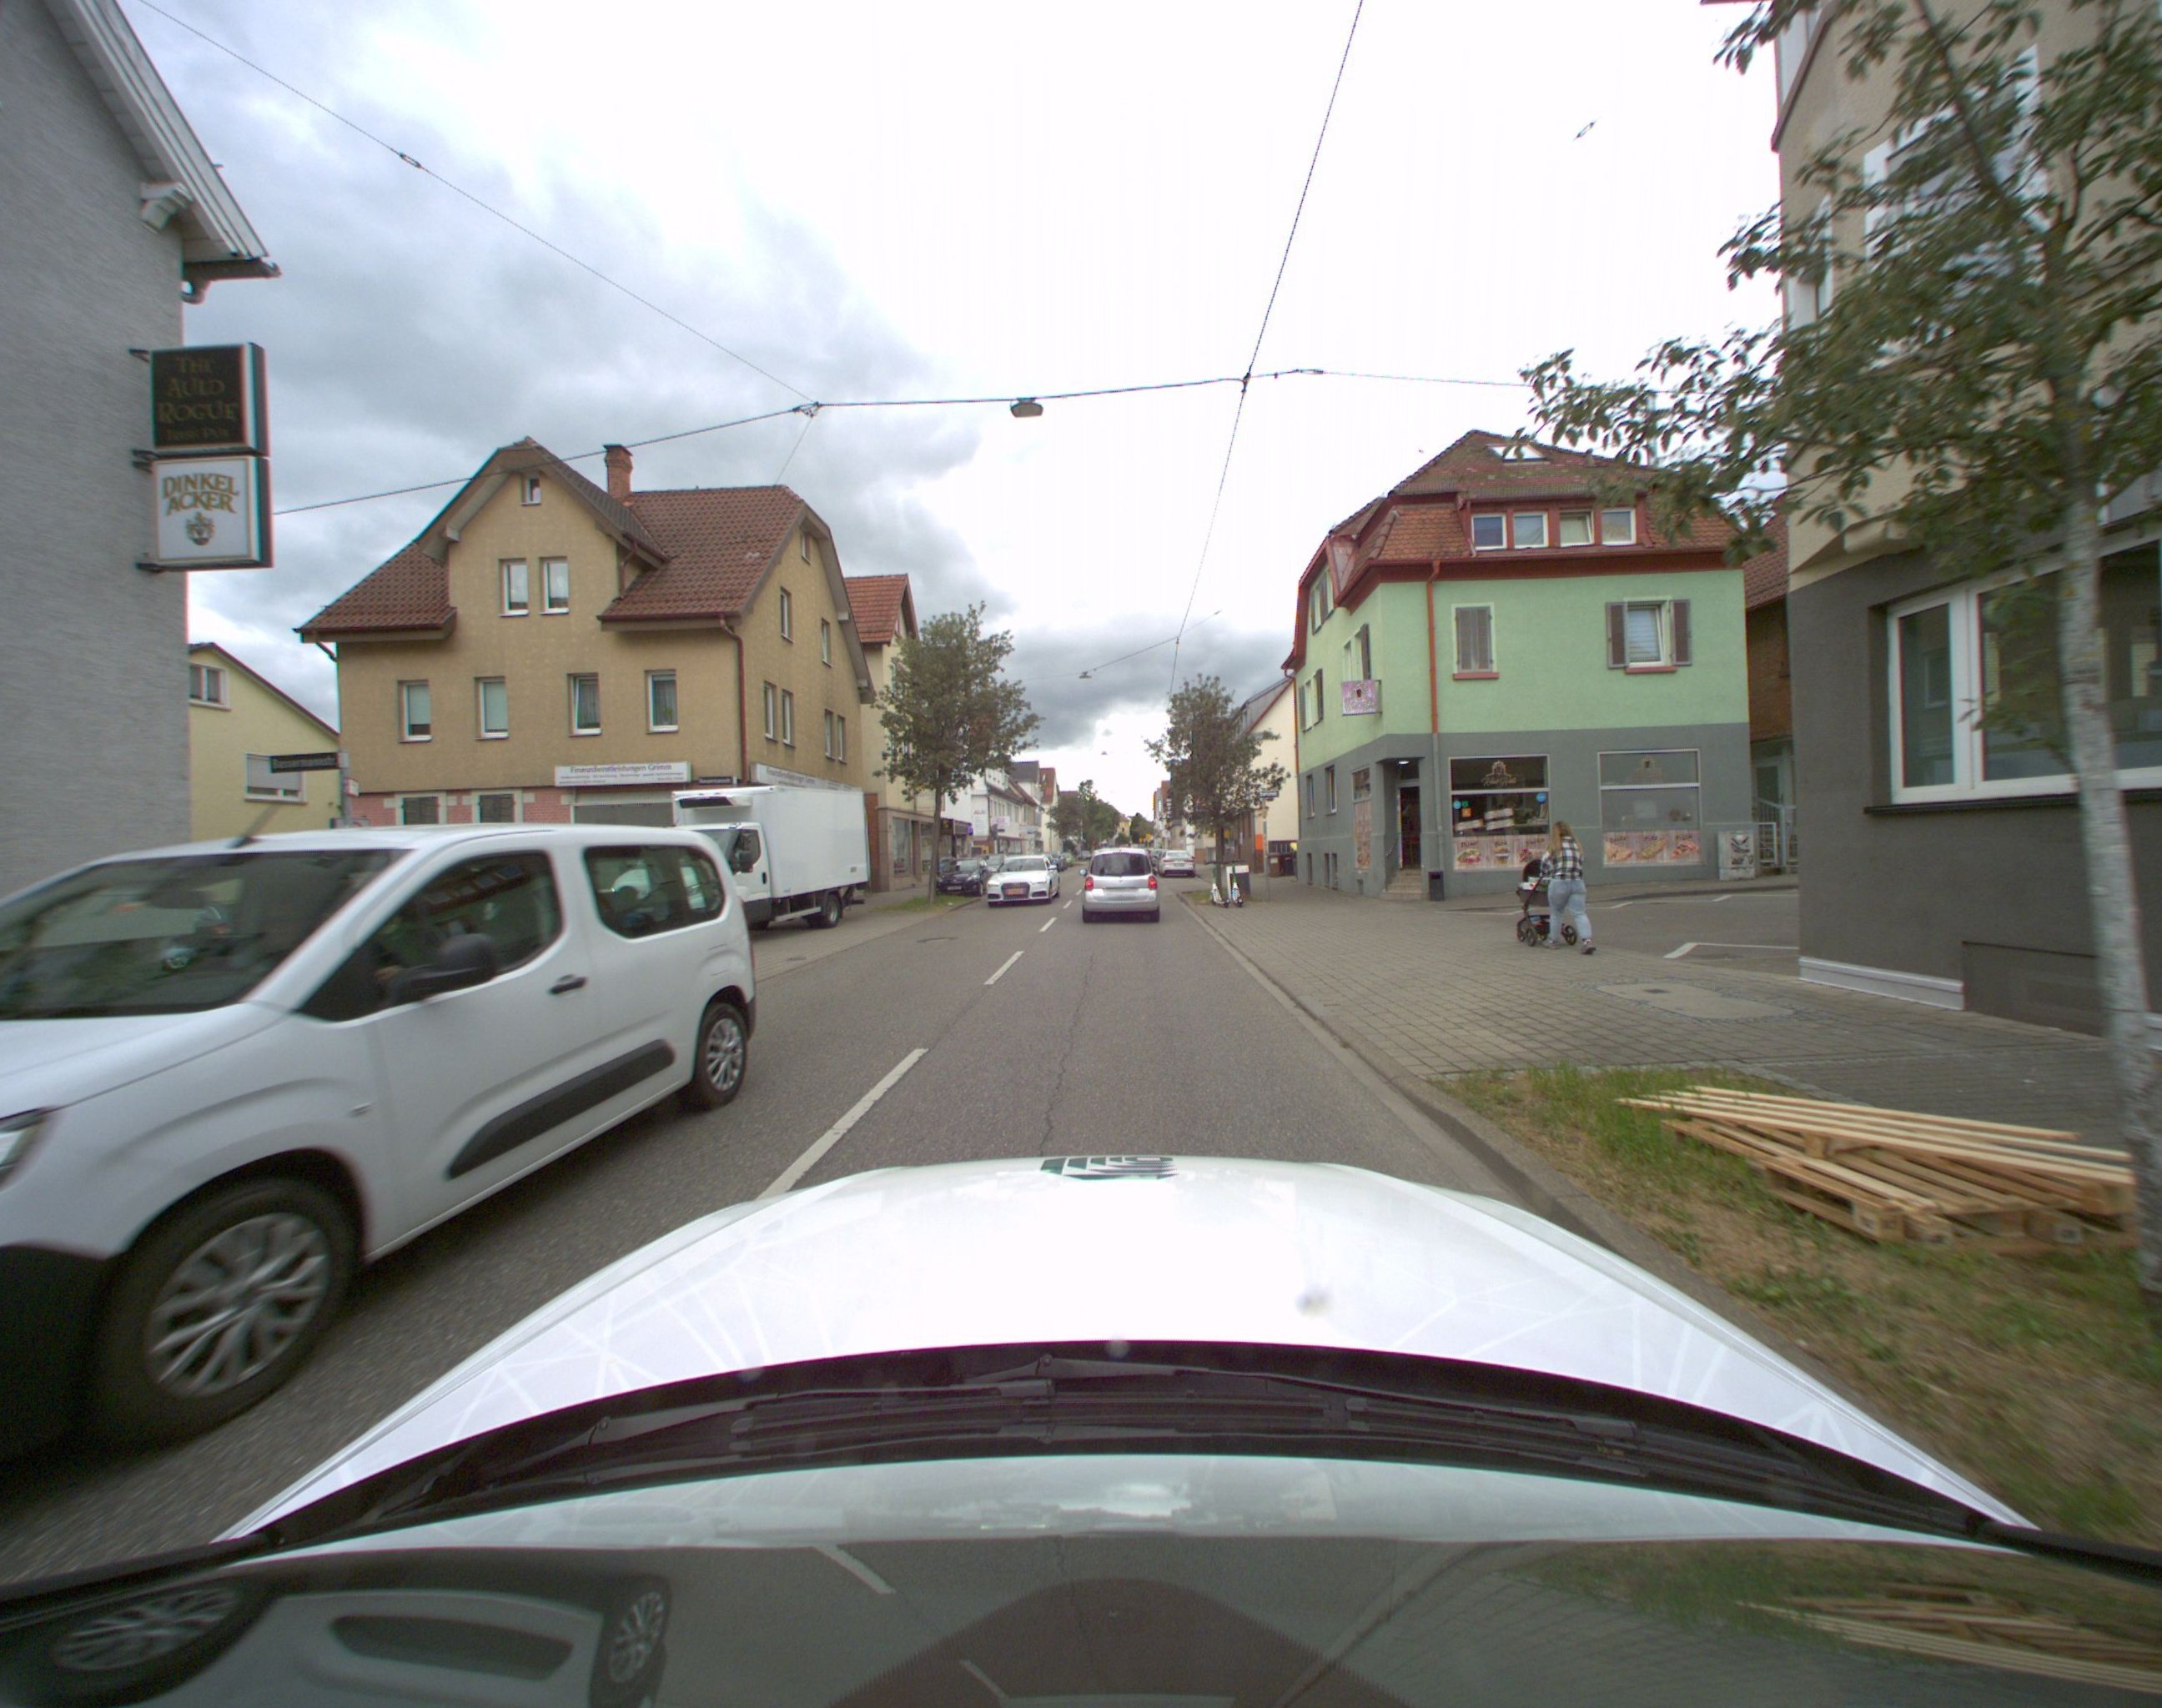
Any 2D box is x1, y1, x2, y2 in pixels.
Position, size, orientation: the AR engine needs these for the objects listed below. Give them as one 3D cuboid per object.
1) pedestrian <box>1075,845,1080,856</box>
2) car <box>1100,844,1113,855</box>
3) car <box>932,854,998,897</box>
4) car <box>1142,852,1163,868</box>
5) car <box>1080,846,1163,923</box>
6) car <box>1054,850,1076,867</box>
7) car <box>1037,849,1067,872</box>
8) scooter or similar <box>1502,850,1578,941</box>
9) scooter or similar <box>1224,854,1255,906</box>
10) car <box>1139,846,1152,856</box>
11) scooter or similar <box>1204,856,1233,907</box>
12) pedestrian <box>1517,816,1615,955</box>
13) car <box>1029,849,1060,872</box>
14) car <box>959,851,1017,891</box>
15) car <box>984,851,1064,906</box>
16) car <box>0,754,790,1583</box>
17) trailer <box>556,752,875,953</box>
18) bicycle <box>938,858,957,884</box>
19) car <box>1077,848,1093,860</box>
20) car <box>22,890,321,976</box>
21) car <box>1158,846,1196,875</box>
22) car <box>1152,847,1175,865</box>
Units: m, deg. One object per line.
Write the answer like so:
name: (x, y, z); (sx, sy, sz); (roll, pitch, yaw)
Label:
pedestrian: (-0.558, -0.528, 123.859); (0.759, 1.791, 0.890); (-1, 0, 3)
car: (4.238, -0.727, 136.381); (1.892, 1.737, 4.371); (-3, 0, 4)
car: (-4.323, 0.769, 30.935); (1.676, 1.424, 3.934); (-3, 0, 2)
car: (6.409, 0.521, 73.516); (1.747, 1.445, 4.459); (-1, 0, 4)
car: (0.969, 0.615, 18.743); (1.675, 1.566, 3.998); (-1, 0, 4)
car: (-1.552, 0.407, 79.335); (1.675, 1.447, 4.024); (-3, 0, 4)
car: (-2.210, 0.467, 63.569); (1.795, 1.599, 4.309); (-3, 0, 4)
scooter or similar: (6.463, 0.564, 11.511); (0.587, 1.232, 0.892); (-1, 0, 2)
scooter or similar: (4.047, 0.638, 20.887); (0.500, 1.235, 1.944); (-1, 0, 3)
car: (9.611, -0.426, 121.692); (1.694, 1.467, 4.242); (-1, 0, 3)
scooter or similar: (3.515, 0.677, 20.902); (0.500, 1.235, 1.944); (-1, 0, 3)
pedestrian: (6.283, 0.388, 10.593); (0.747, 1.720, 0.901); (-1, 0, 3)
car: (-2.572, 0.467, 58.177); (1.675, 1.499, 3.779); (-3, 0, 4)
car: (-4.038, 0.695, 35.988); (1.702, 1.566, 4.118); (-3, 0, 4)
car: (-1.651, 0.681, 25.318); (1.835, 1.433, 4.547); (-3, 0, 3)
car: (-3.257, 0.712, 3.811); (1.985, 1.796, 4.281); (-3, 0, 3)
trailer: (-6.845, -0.035, 16.720); (2.489, 3.219, 7.151); (-1, 0, 8)
bicycle: (-6.583, 0.815, 40.171); (0.500, 1.235, 1.944); (-1, 0, 3)
car: (0.610, -0.016, 114.461); (1.940, 1.467, 4.520); (-4, 0, 4)
car: (-19.278, 1.660, 17.425); (4.183, 1.449, 1.979); (-4, -4, 1)
car: (5.140, 0.321, 43.872); (1.823, 1.445, 4.336); (-1, 0, 4)
car: (6.922, 0.141, 68.833); (1.823, 1.497, 3.998); (-1, 0, 4)
